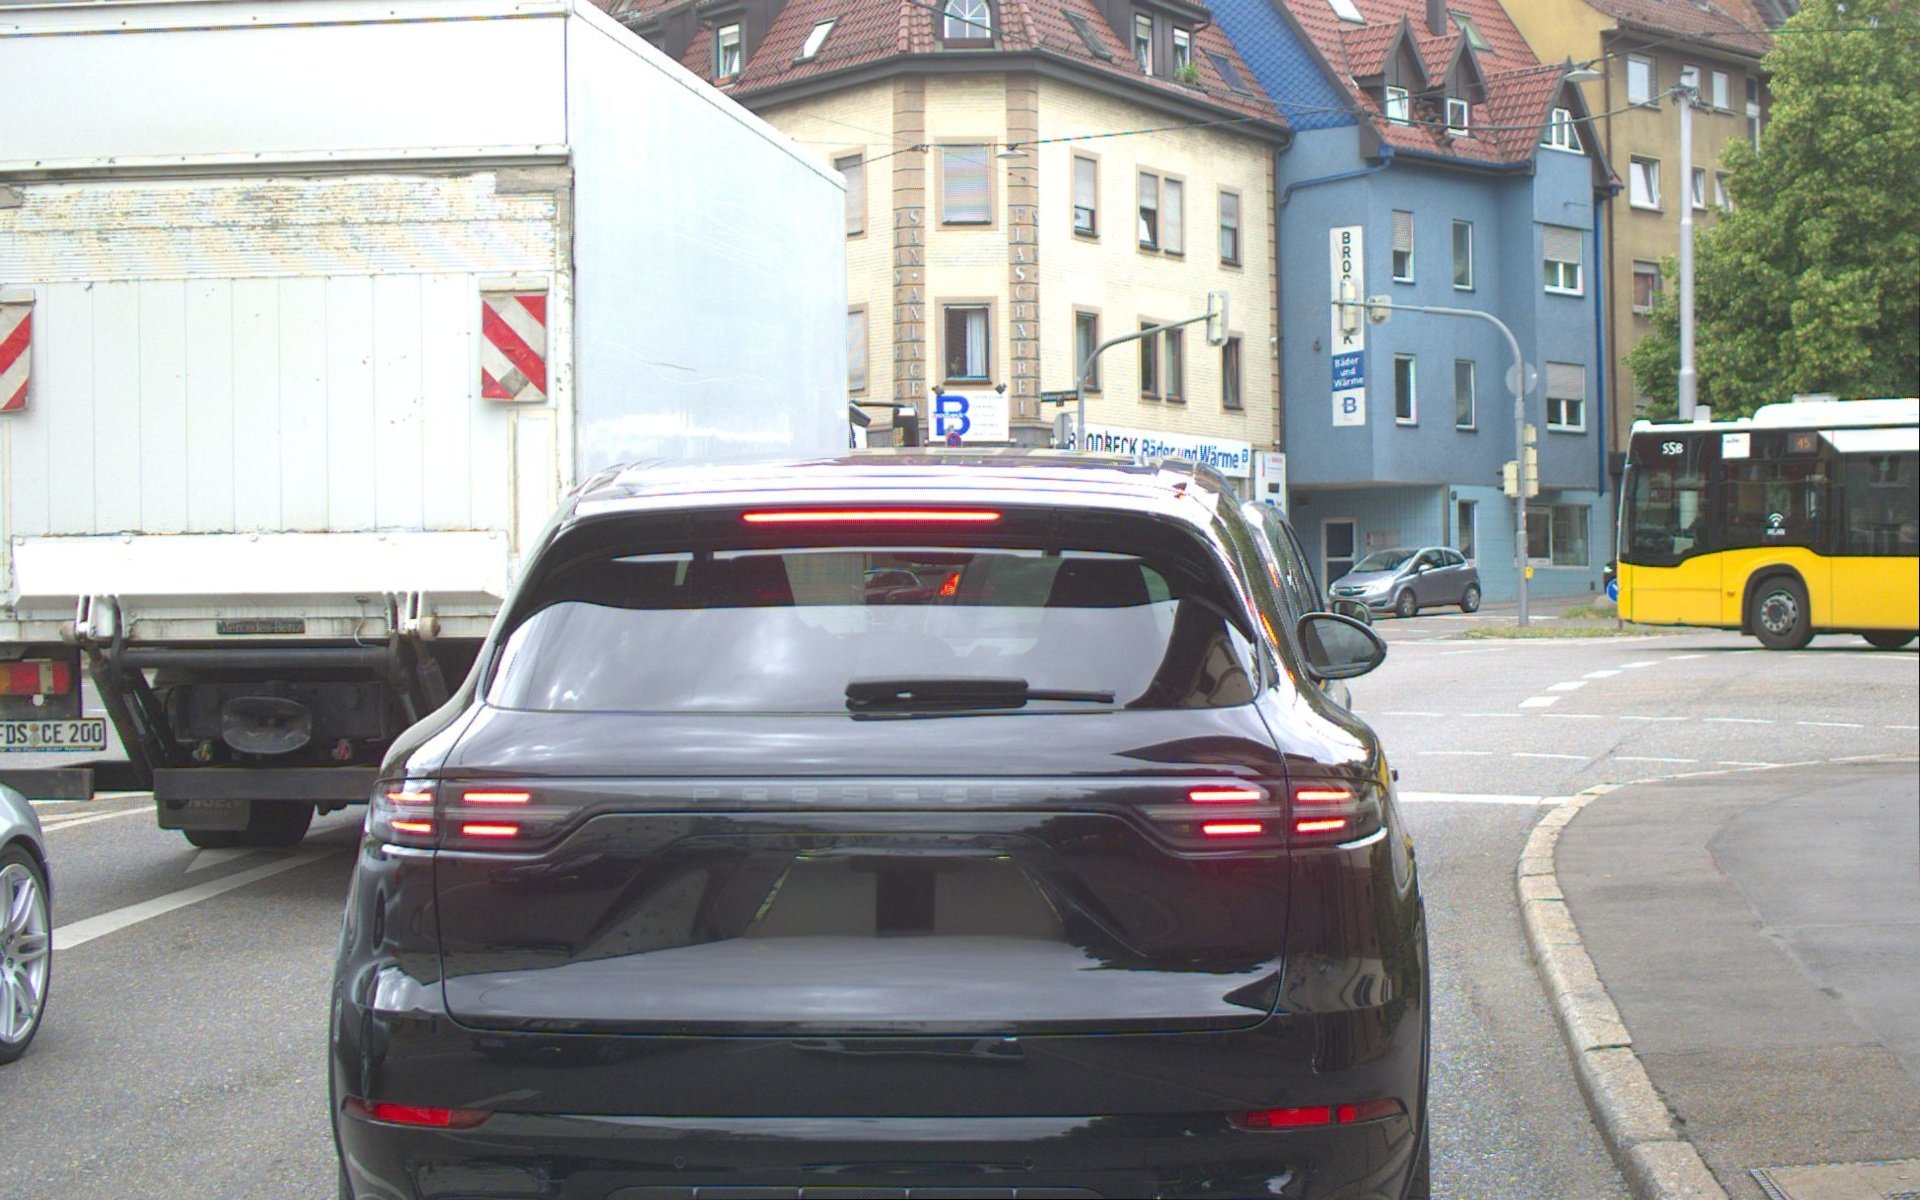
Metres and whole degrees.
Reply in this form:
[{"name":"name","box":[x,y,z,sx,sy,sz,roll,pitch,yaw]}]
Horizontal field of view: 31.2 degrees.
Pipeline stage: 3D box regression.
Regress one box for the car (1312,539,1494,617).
[{"name":"car","box":[9.196,-0.437,71.137,1.720,1.471,4.208,0,-1,40]}]

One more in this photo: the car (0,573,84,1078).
[{"name":"car","box":[-3.508,0.656,8.012,1.629,1.360,4.128,-1,1,4]}]

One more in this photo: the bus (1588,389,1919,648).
[{"name":"bus","box":[13.223,-1.009,41.322,3.158,3.085,12.148,-2,0,-37]}]

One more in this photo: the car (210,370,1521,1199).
[{"name":"car","box":[-0.176,0.472,7.626,2.031,1.717,4.500,1,1,-1]}]

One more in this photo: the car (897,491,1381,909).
[{"name":"car","box":[0.883,0.357,14.775,1.649,1.550,3.581,1,1,10]}]

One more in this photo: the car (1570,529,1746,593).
[{"name":"car","box":[15.938,-0.875,78.307,1.874,1.411,4.687,0,0,41]}]

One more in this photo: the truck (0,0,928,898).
[{"name":"truck","box":[-2.159,-0.707,17.345,2.726,3.532,8.419,-1,1,8]}]
